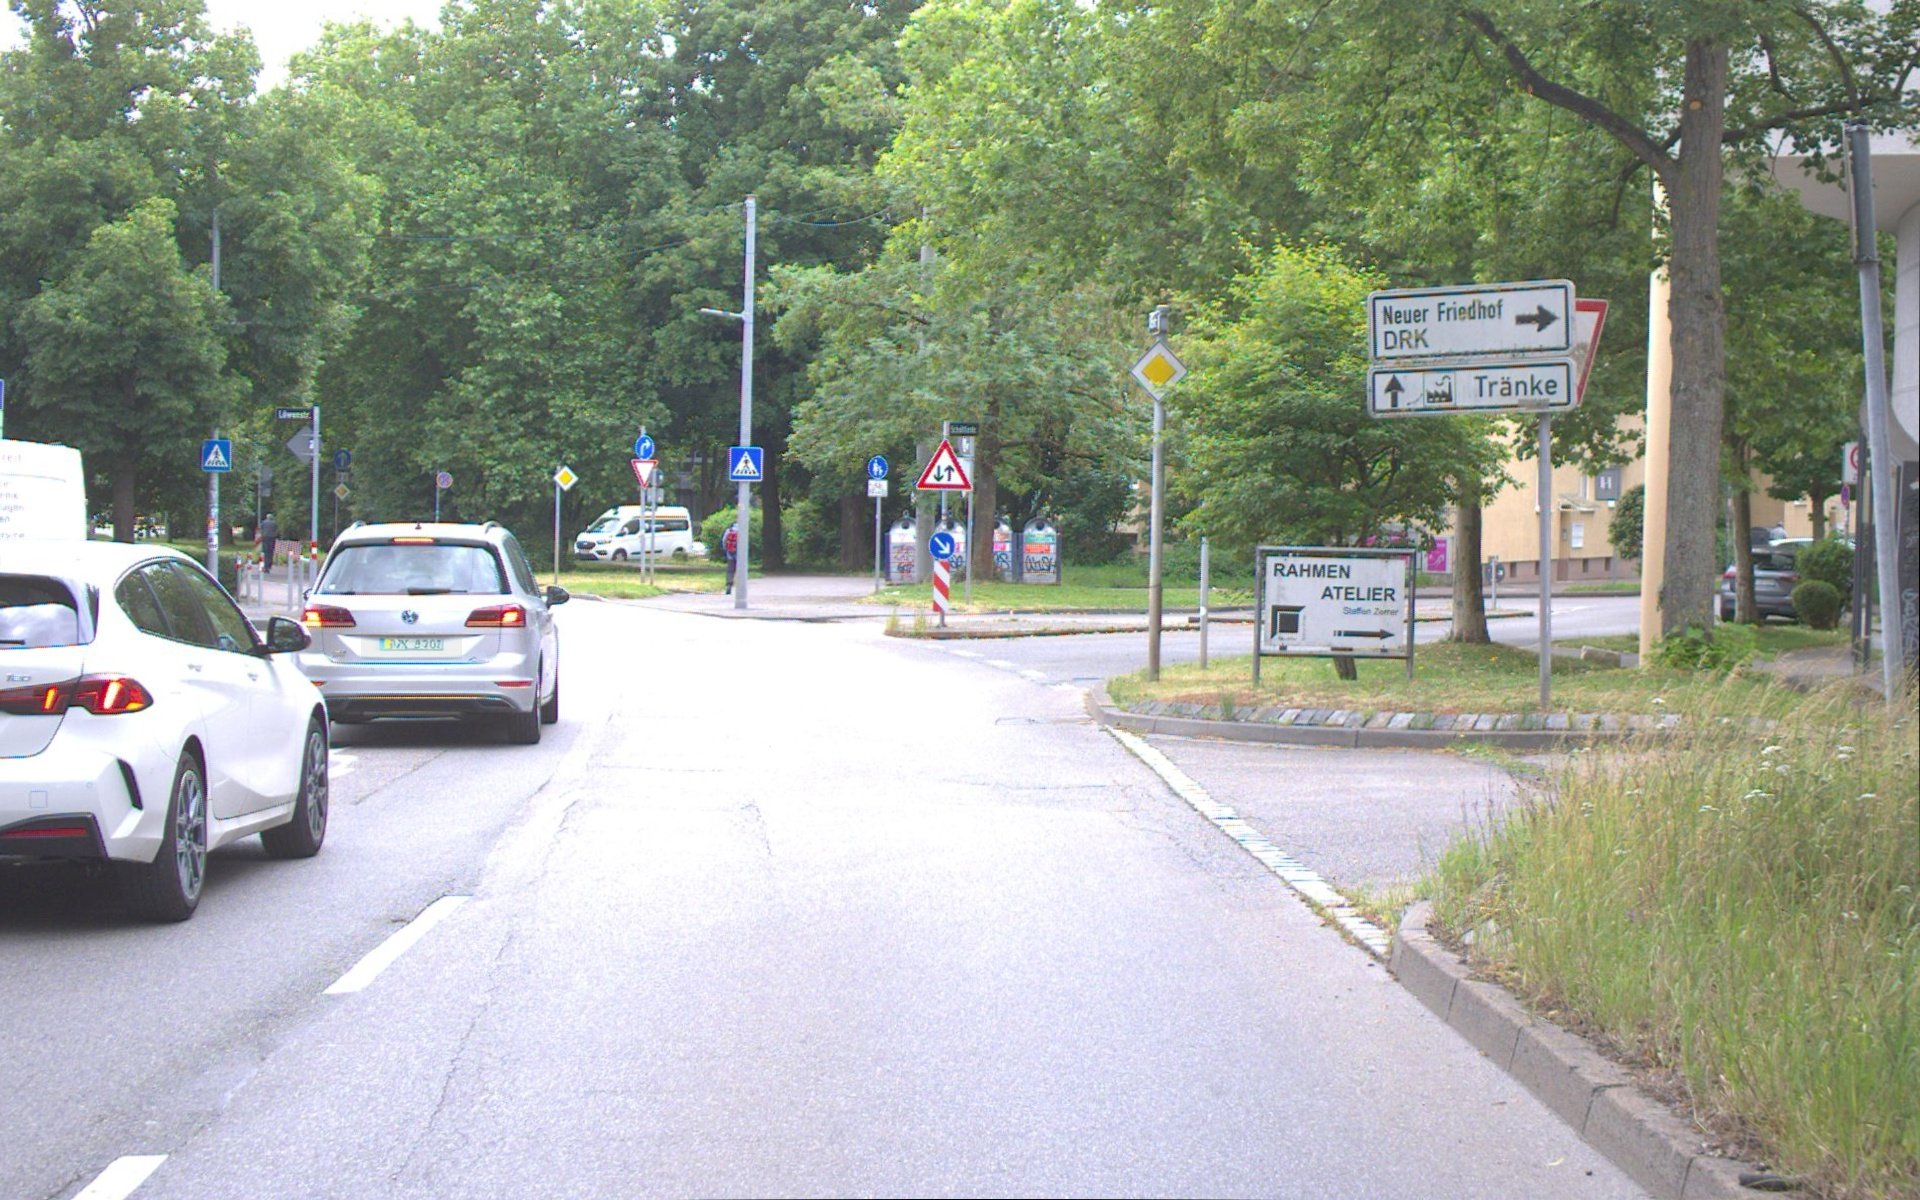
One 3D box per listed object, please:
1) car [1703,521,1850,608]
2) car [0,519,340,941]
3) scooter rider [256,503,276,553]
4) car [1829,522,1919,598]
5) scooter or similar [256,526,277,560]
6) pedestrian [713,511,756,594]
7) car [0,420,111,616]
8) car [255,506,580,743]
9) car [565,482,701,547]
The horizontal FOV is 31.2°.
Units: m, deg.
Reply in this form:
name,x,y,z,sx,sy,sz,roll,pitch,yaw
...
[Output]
name,x,y,z,sx,sy,sz,roll,pitch,yaw
car,16.373,-0.703,68.825,1.877,1.563,4.013,5,2,27
car,-3.860,0.429,14.460,1.795,1.512,4.207,-1,1,-1
scooter rider,-21.929,-2.273,108.616,0.600,1.547,0.566,0,3,-15
car,21.338,-0.911,78.676,1.781,1.592,4.242,4,2,28
scooter or similar,-21.887,-1.810,108.488,0.600,1.051,0.873,0,3,-15
pedestrian,-5.340,-1.134,81.347,0.923,1.865,1.019,-3,5,-5
car,-14.689,-1.155,44.266,6.960,2.513,2.084,1,4,-38
car,-3.952,0.117,25.637,1.923,1.568,4.001,1,2,-2
car,-12.882,-3.359,135.723,2.135,2.289,5.374,5,3,37
